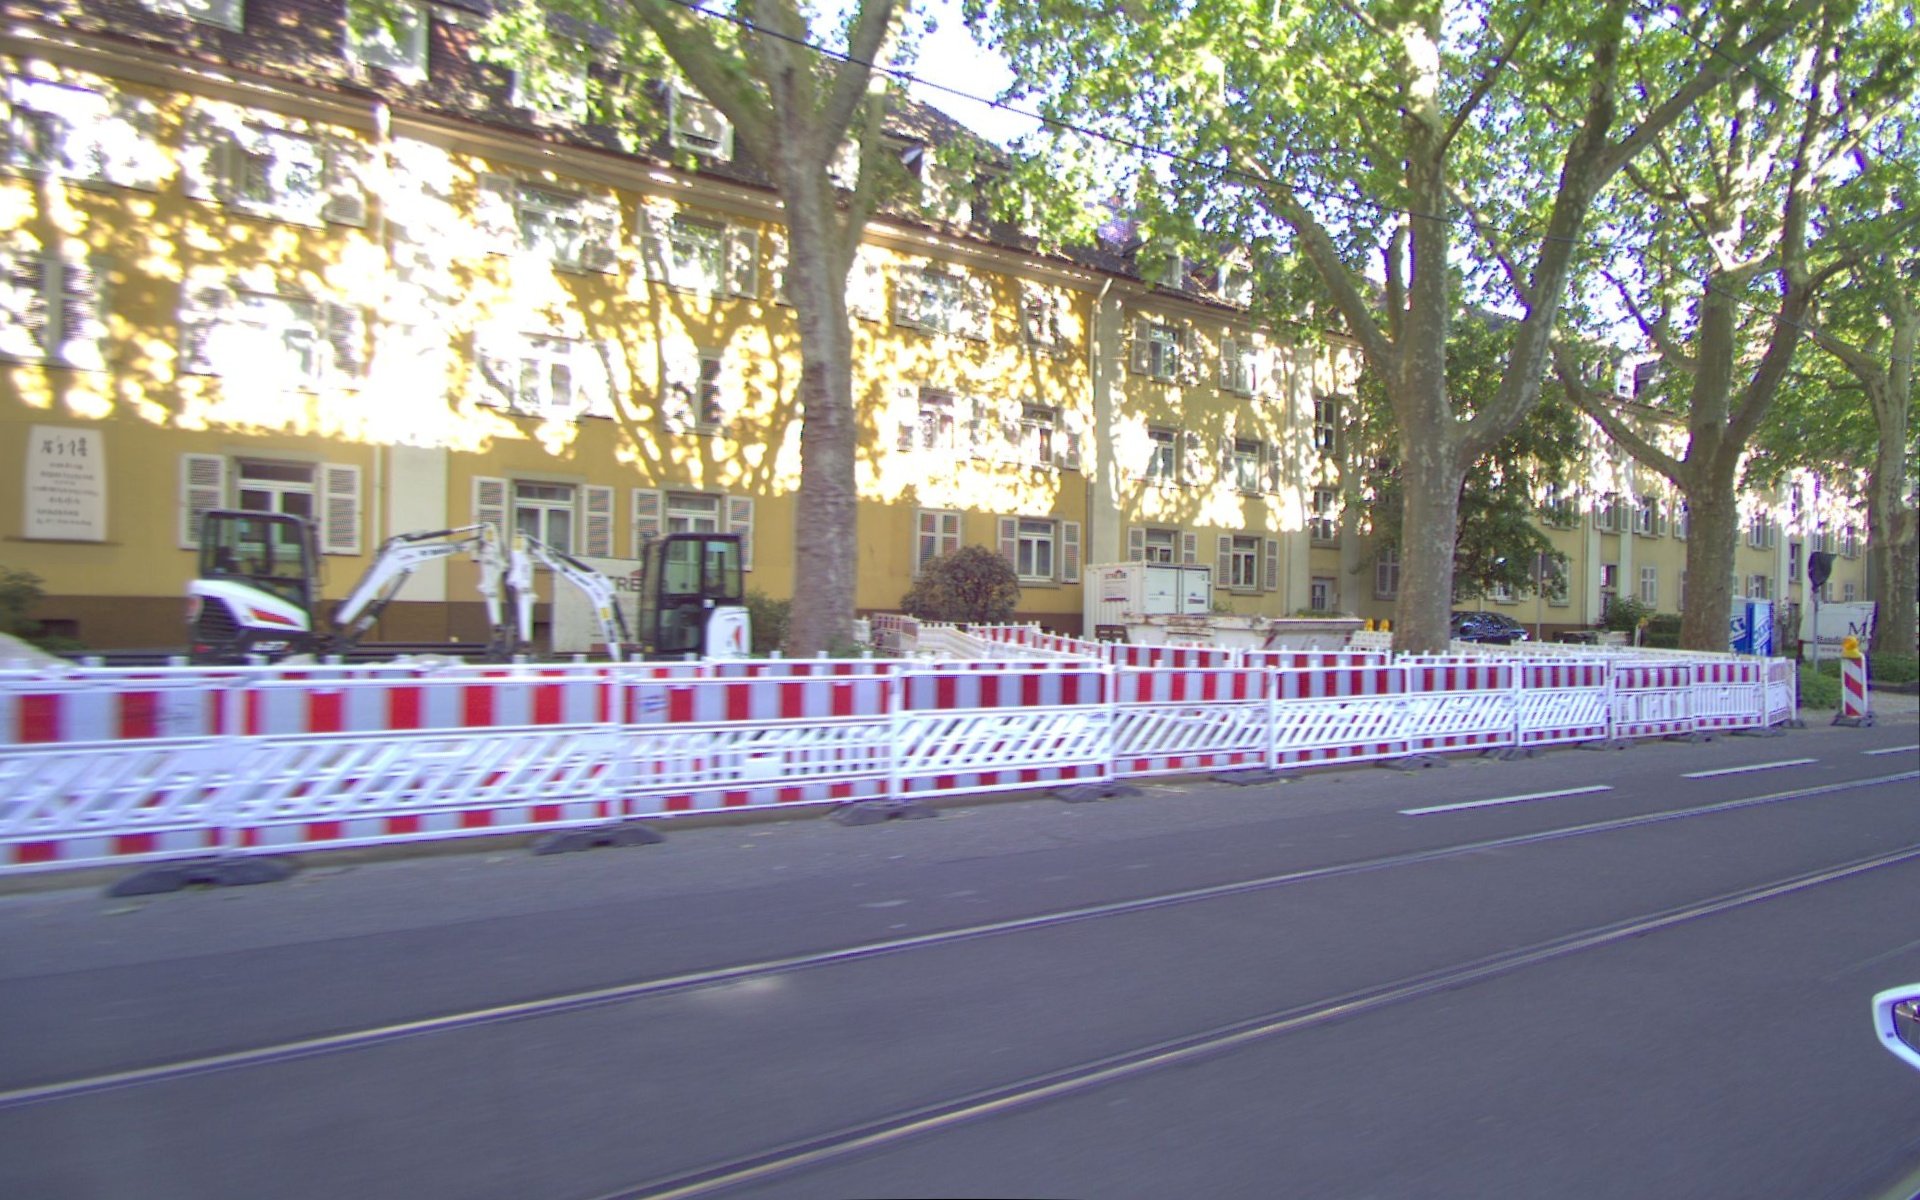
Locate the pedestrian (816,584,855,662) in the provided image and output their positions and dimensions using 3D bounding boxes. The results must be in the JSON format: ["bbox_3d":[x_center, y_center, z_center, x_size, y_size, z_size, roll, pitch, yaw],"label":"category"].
[{"bbox_3d":[-2.735,0.512,22.082,0.659,1.678,0.672,1,0,8],"label":"pedestrian"}]

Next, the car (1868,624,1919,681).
[{"bbox_3d":[30.223,1.607,30.078,1.943,1.693,4.144,2,-1,-32],"label":"car"}]

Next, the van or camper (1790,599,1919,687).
[{"bbox_3d":[27.655,1.239,28.798,2.239,2.411,5.483,2,0,-26],"label":"van or camper"}]

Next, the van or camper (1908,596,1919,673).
[{"bbox_3d":[35.616,1.265,33.280,2.242,2.679,5.698,2,0,-29],"label":"van or camper"}]

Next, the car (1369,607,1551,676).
[{"bbox_3d":[12.841,1.040,25.782,4.460,1.592,1.784,1,1,-26],"label":"car"}]

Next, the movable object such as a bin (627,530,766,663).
[{"bbox_3d":[-3.531,-0.032,13.438,1.541,1.667,1.092,2,0,-30],"label":"movable object such as a bin"}]

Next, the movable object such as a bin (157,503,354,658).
[{"bbox_3d":[-9.253,-0.219,13.343,1.984,1.893,1.327,2,0,-30],"label":"movable object such as a bin"}]
